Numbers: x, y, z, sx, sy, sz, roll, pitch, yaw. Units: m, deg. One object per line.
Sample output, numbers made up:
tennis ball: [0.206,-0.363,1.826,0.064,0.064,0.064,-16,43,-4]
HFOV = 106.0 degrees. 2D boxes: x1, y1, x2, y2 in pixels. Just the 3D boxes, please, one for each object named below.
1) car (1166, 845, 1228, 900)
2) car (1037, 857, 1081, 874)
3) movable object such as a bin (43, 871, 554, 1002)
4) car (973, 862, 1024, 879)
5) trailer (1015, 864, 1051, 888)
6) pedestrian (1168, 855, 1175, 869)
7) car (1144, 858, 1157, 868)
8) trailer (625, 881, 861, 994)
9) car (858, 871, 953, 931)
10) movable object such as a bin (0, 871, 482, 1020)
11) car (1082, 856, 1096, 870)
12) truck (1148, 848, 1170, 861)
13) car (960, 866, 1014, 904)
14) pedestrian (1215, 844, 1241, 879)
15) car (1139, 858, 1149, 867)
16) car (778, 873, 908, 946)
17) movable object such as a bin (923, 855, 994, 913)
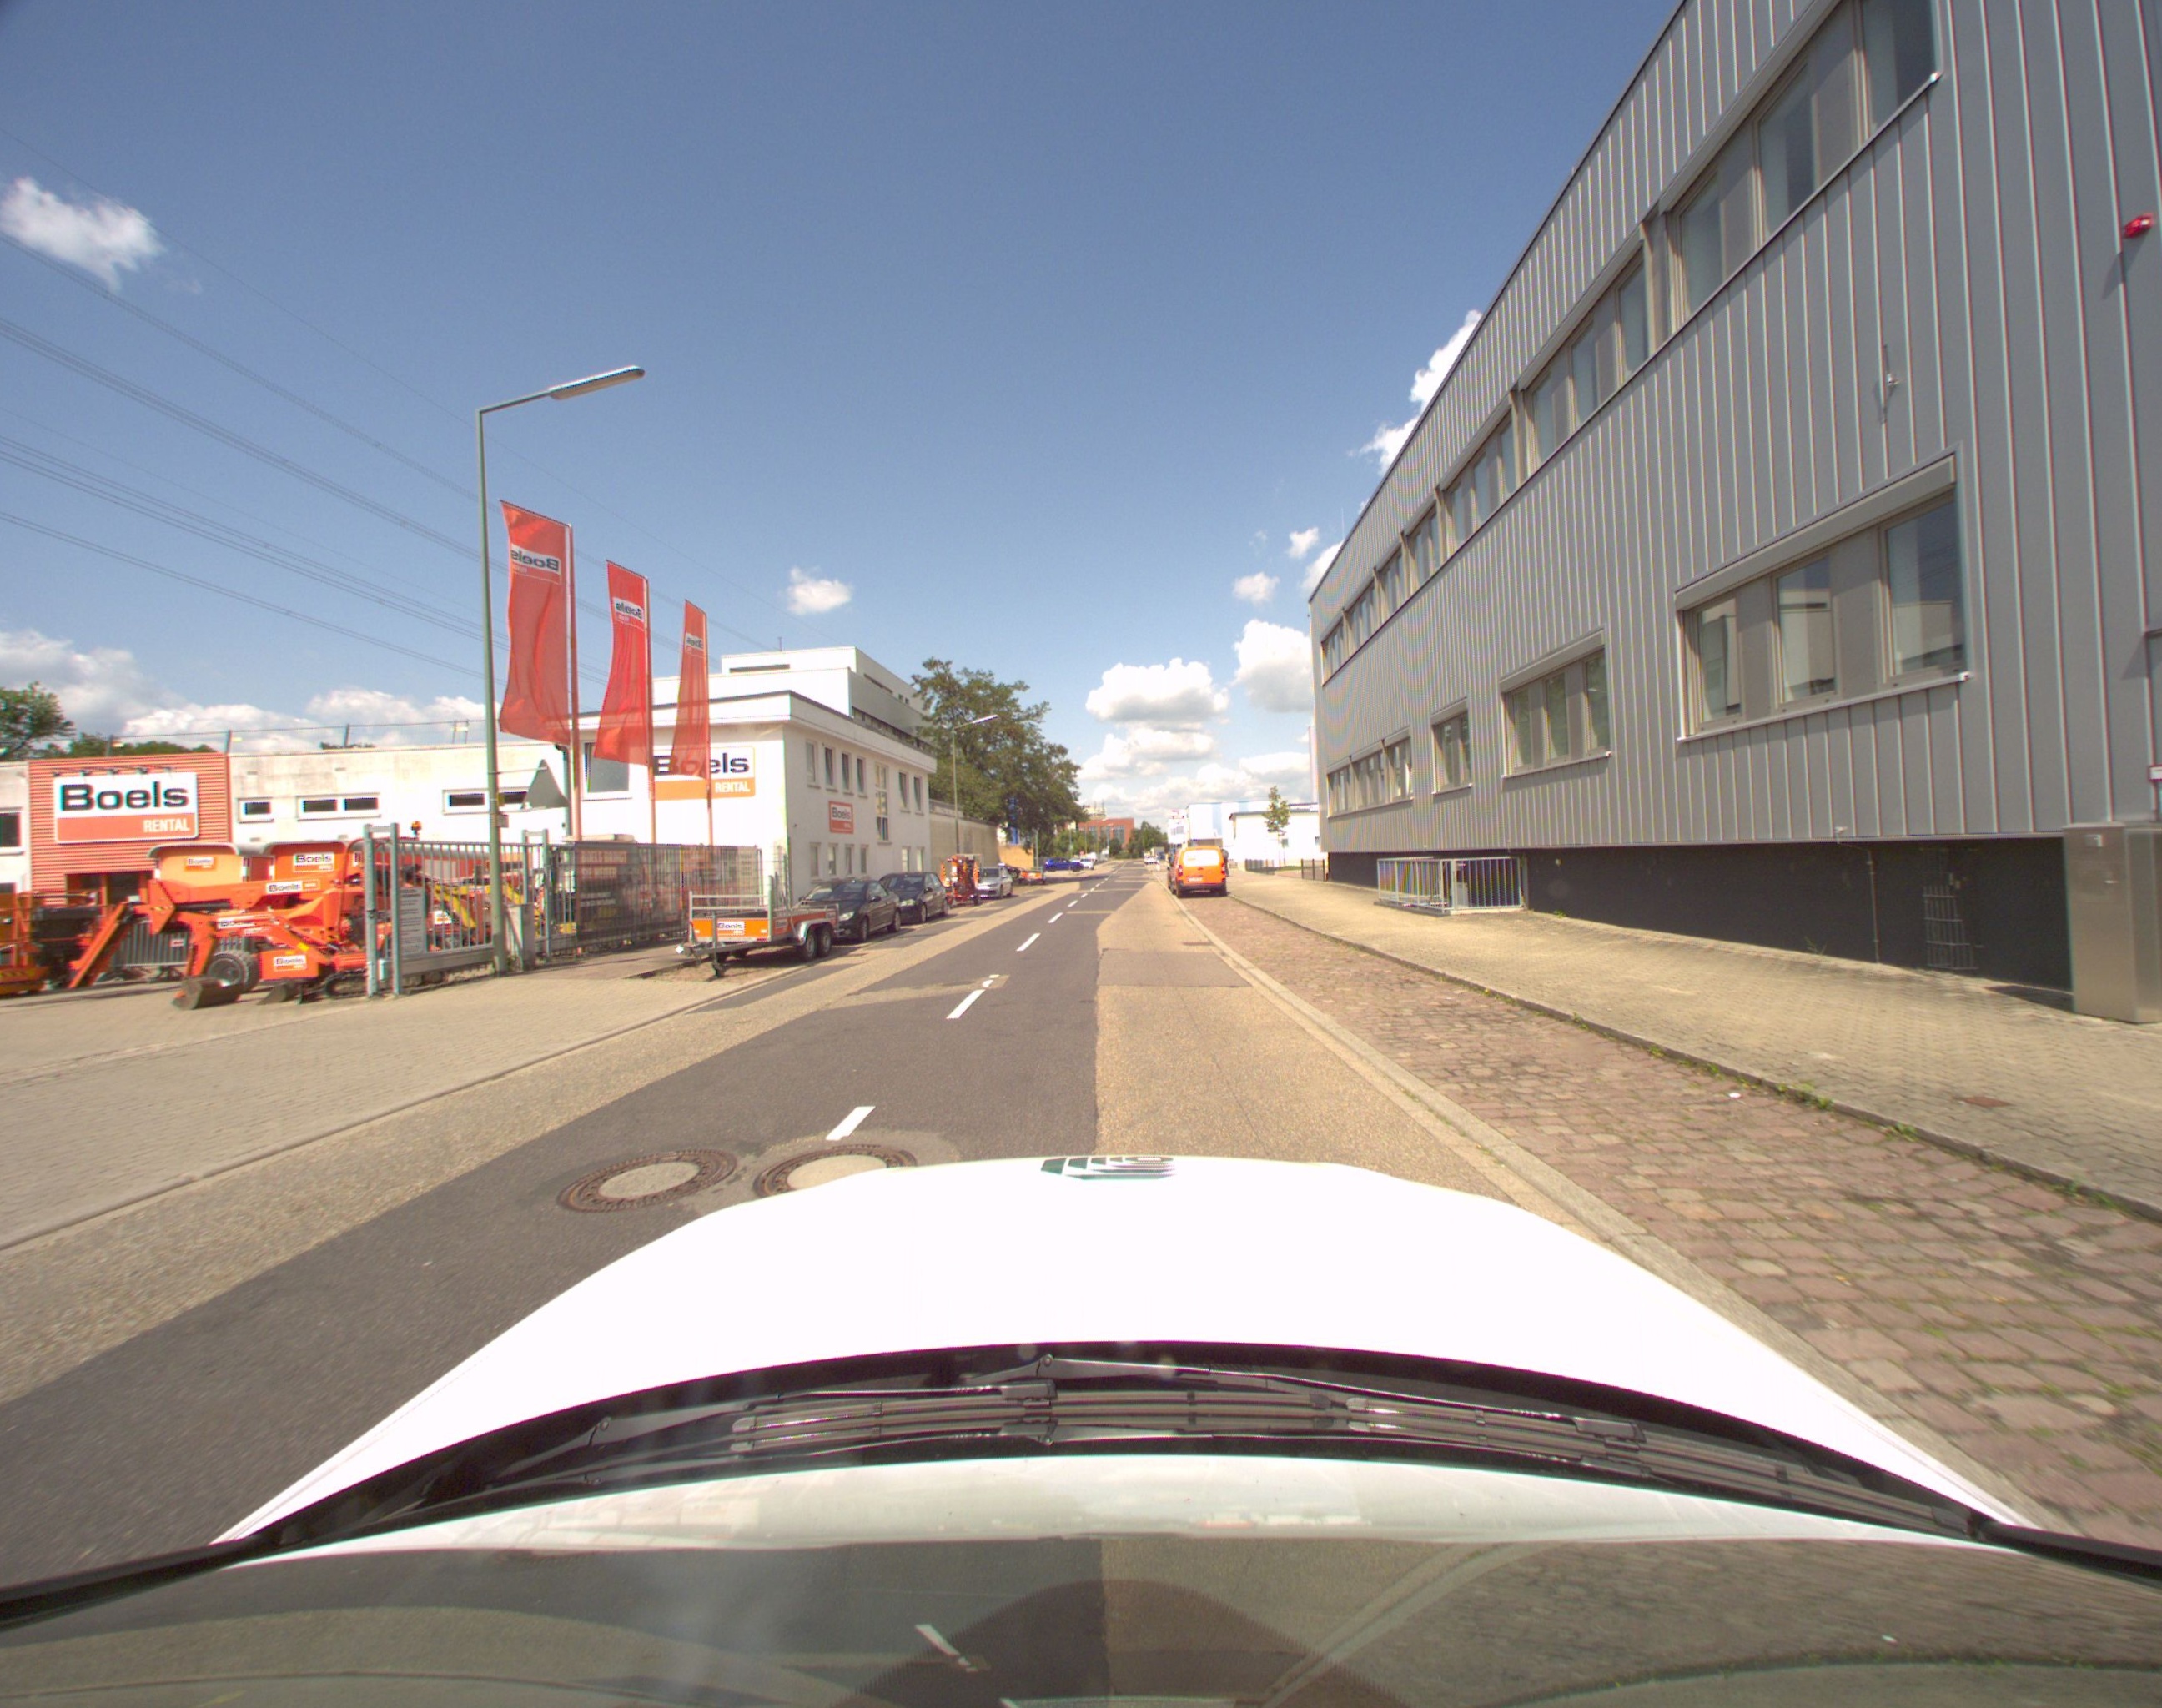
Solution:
car: [4.327,0.654,31.040,1.865,1.892,4.455,1,0,2]
car: [-2.532,1.264,92.717,4.686,1.593,1.909,-4,0,-10]
movable object such as a bin: [-14.787,1.501,15.791,7.583,2.005,1.903,-2,0,-4]
car: [-6.939,1.356,68.784,3.972,1.362,1.798,0,0,7]
trailer: [-3.045,1.403,52.677,1.759,1.439,4.340,-1,0,4]
pedestrian: [12.286,1.088,110.369,0.766,1.756,0.788,-5,-1,3]
car: [11.435,1.399,133.853,1.859,1.520,4.602,-3,0,3]
trailer: [-5.463,1.268,14.031,1.760,1.376,5.054,-2,0,2]
car: [-4.976,1.288,23.636,1.666,1.455,4.226,-2,0,2]
movable object such as a bin: [-14.245,1.443,13.546,6.847,2.005,1.903,-2,0,-4]
car: [1.016,1.167,104.654,1.680,1.664,4.000,-2,0,0]
truck: [24.433,0.000,253.872,2.298,3.567,9.428,-1,2,34]
car: [-4.086,1.337,36.135,1.666,1.455,4.516,-2,0,2]
pedestrian: [8.707,0.444,48.269,0.993,1.951,1.084,-4,0,-19]
car: [11.328,1.518,146.642,1.827,1.520,4.465,-3,0,3]
car: [-5.307,1.190,18.677,1.666,1.376,3.886,-2,0,2]
movable object such as a bin: [-4.515,1.041,30.644,1.607,1.919,5.143,0,0,3]
